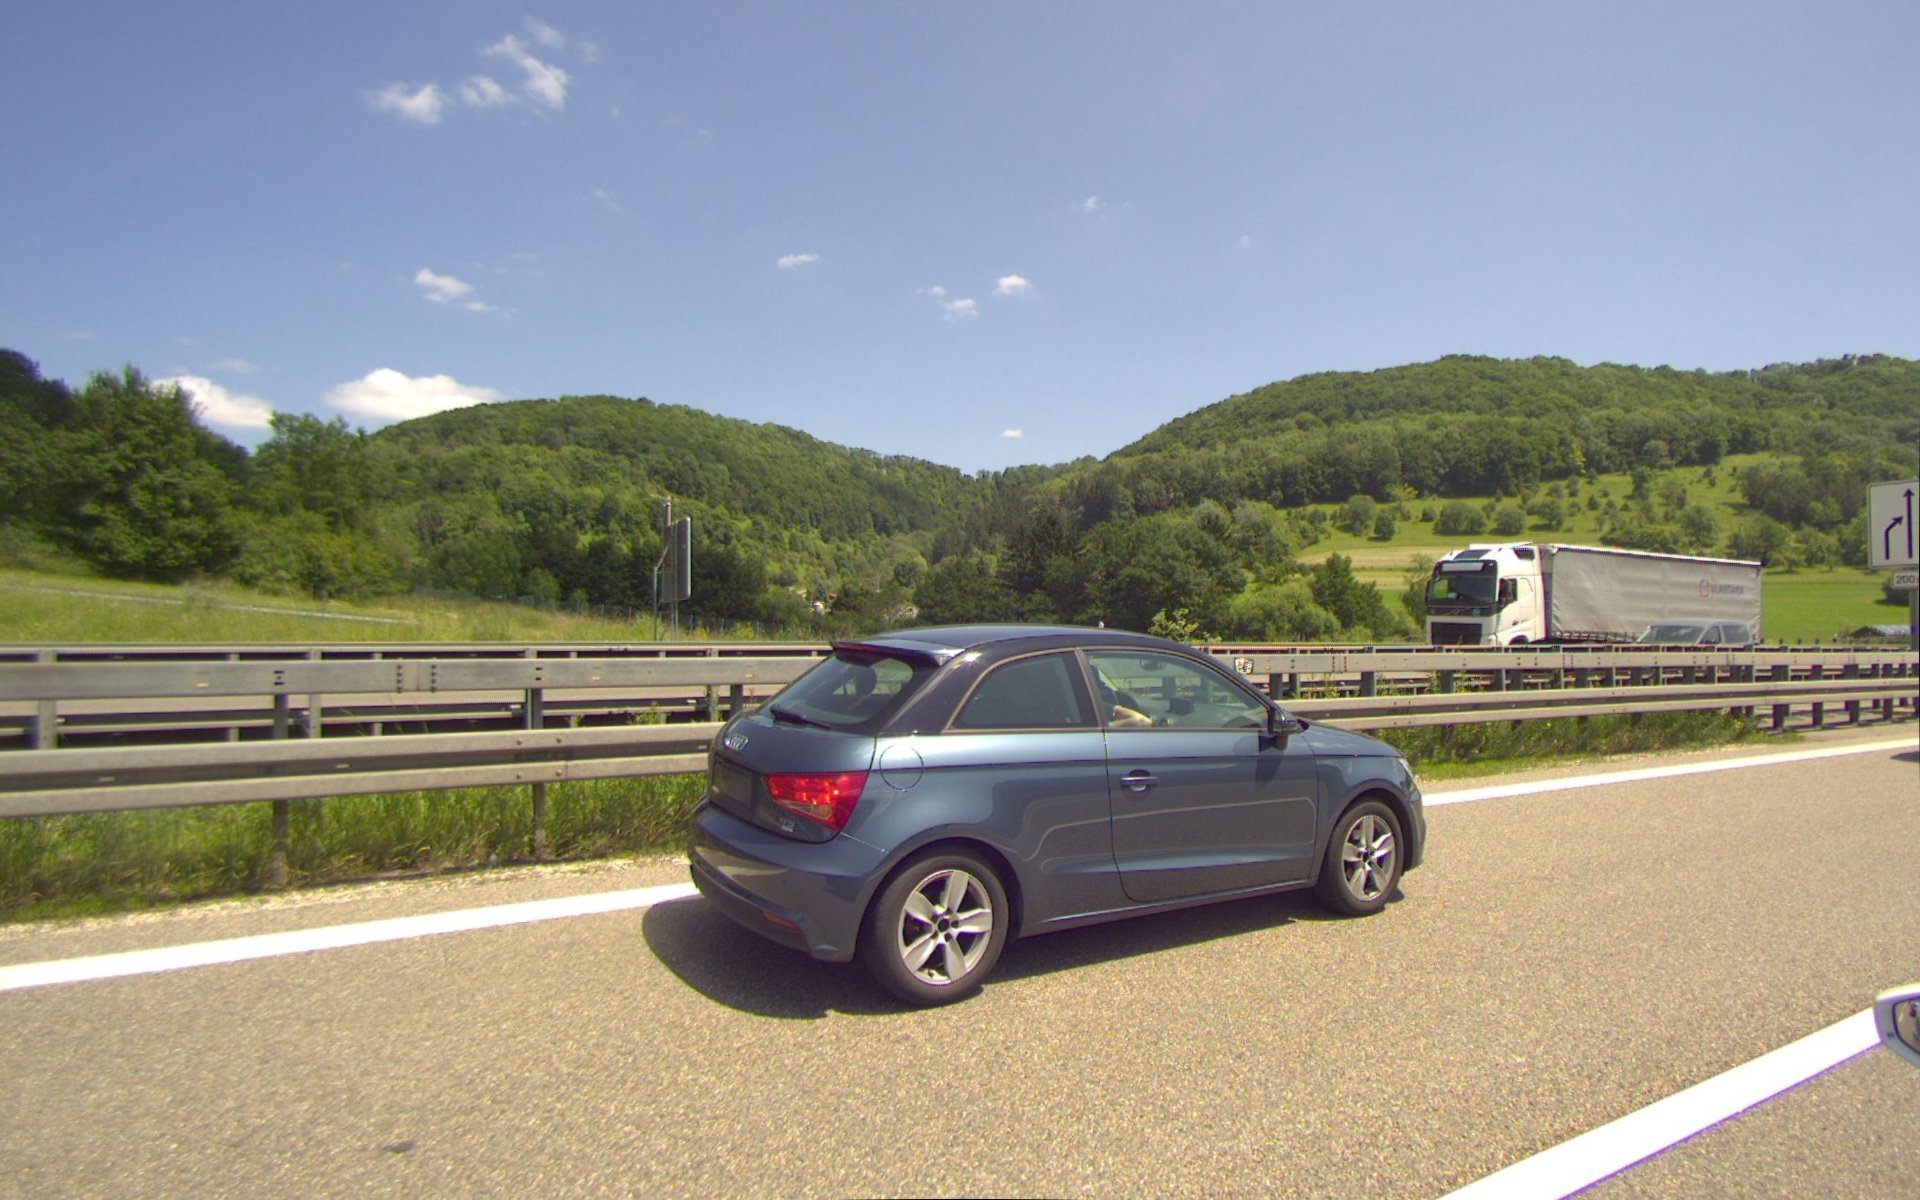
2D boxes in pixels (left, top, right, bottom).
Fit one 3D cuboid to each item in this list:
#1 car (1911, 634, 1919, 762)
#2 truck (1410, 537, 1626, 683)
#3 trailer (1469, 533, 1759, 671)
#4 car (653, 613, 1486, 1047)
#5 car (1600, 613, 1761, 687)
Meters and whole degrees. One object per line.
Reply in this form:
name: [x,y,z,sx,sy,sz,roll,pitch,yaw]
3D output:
car: [13.181,1.140,11.675,4.911,1.409,1.792,1,-1,-30]
truck: [18.104,0.392,32.479,7.146,4.288,2.785,2,0,-30]
trailer: [23.523,0.257,35.647,13.455,4.247,2.841,2,0,-30]
car: [0.672,0.807,5.039,3.954,1.407,1.680,1,-1,-31]
car: [20.176,1.357,28.106,4.353,1.878,1.985,2,0,-29]
